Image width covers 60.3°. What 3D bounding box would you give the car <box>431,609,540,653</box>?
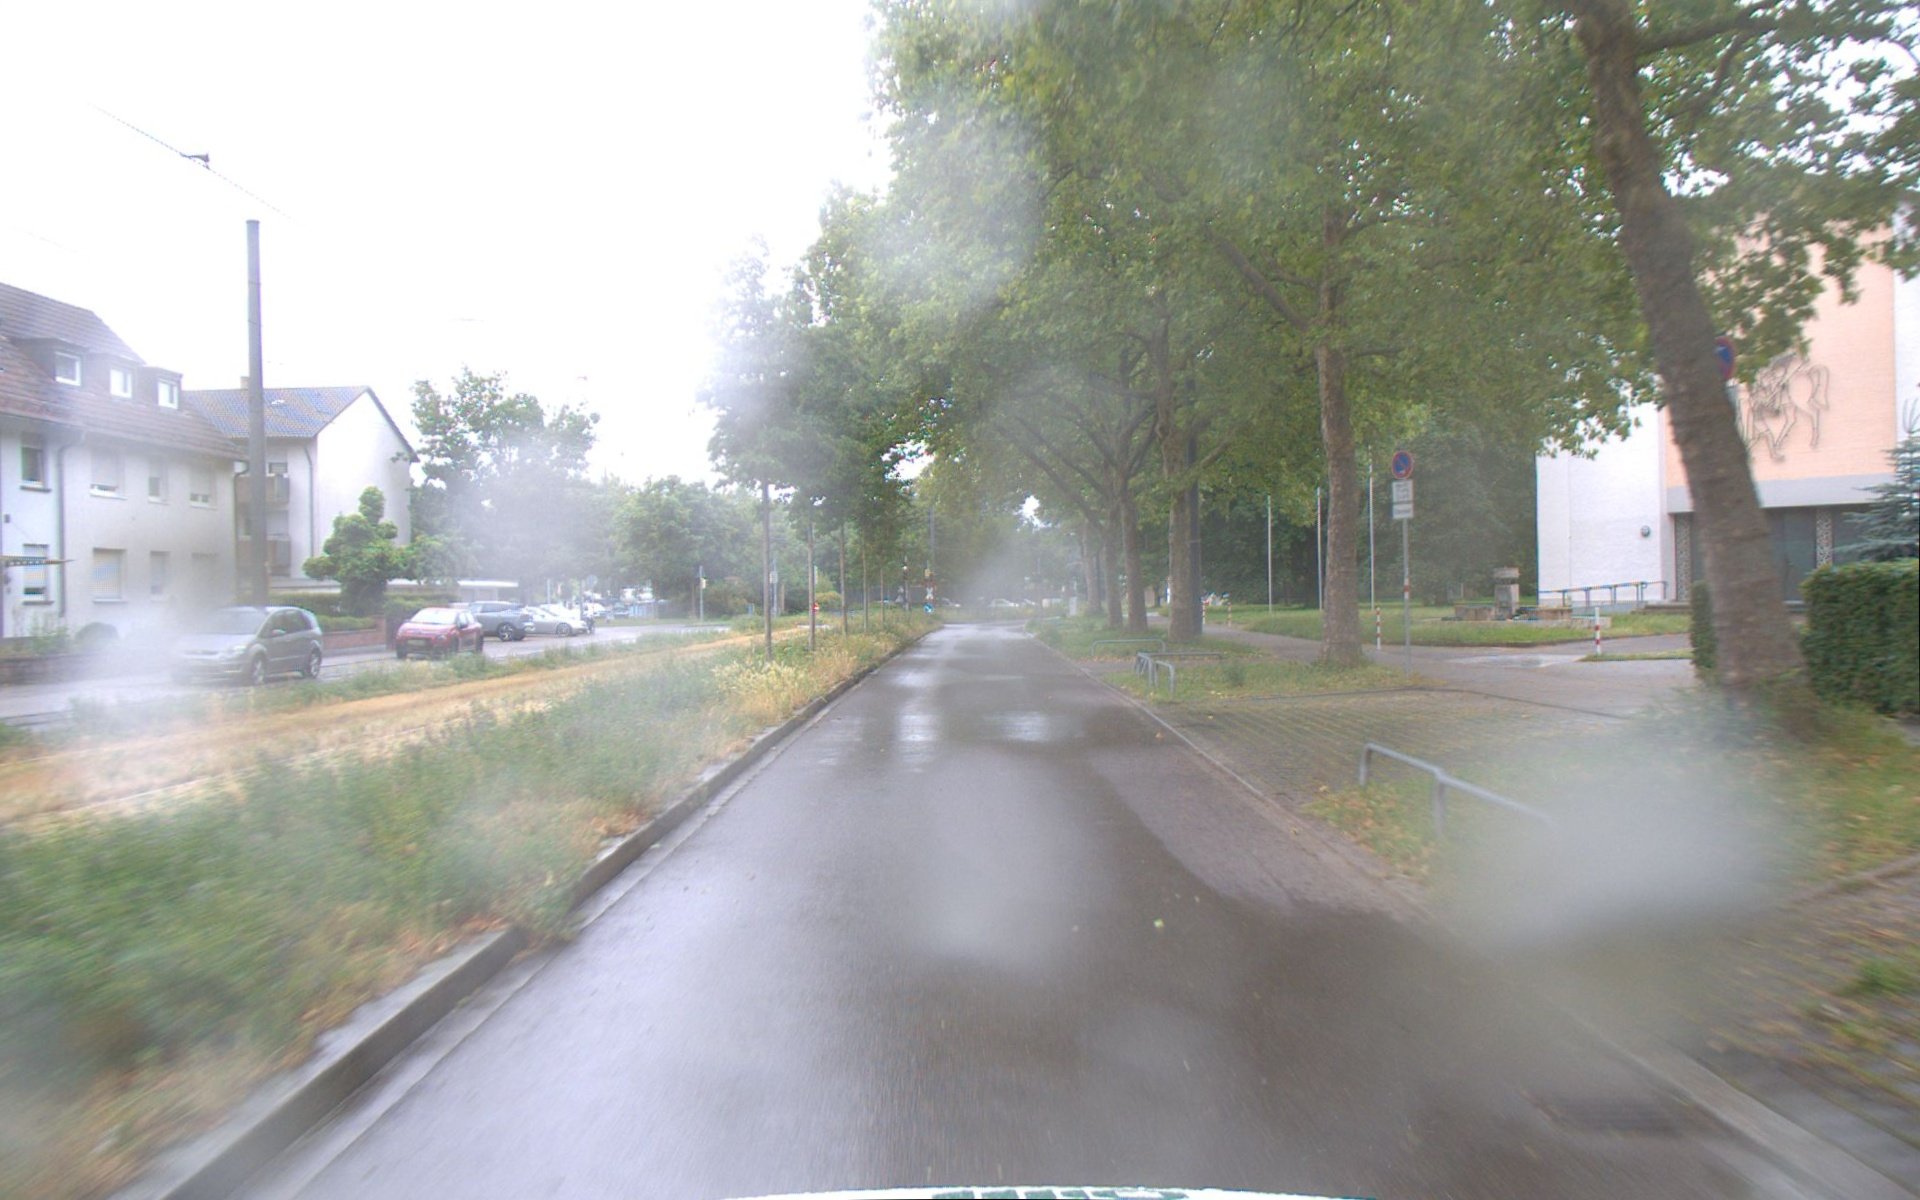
[{"bbox_3d":[-19.676,1.262,68.706,3.907,1.645,1.999,-2,0,-3],"label":"car"}]

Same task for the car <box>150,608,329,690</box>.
[{"bbox_3d":[-15.663,1.019,36.228,1.953,1.608,4.516,1,0,-1],"label":"car"}]

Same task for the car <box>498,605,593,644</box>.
[{"bbox_3d":[-19.262,1.129,76.938,3.907,1.645,1.999,-2,0,-3],"label":"car"}]

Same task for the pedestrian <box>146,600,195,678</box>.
[{"bbox_3d":[-18.407,0.893,38.591,0.687,1.786,0.854,-2,0,0],"label":"pedestrian"}]

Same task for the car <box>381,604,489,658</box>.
[{"bbox_3d":[-15.817,0.899,50.060,1.953,1.514,4.205,1,0,-1],"label":"car"}]
